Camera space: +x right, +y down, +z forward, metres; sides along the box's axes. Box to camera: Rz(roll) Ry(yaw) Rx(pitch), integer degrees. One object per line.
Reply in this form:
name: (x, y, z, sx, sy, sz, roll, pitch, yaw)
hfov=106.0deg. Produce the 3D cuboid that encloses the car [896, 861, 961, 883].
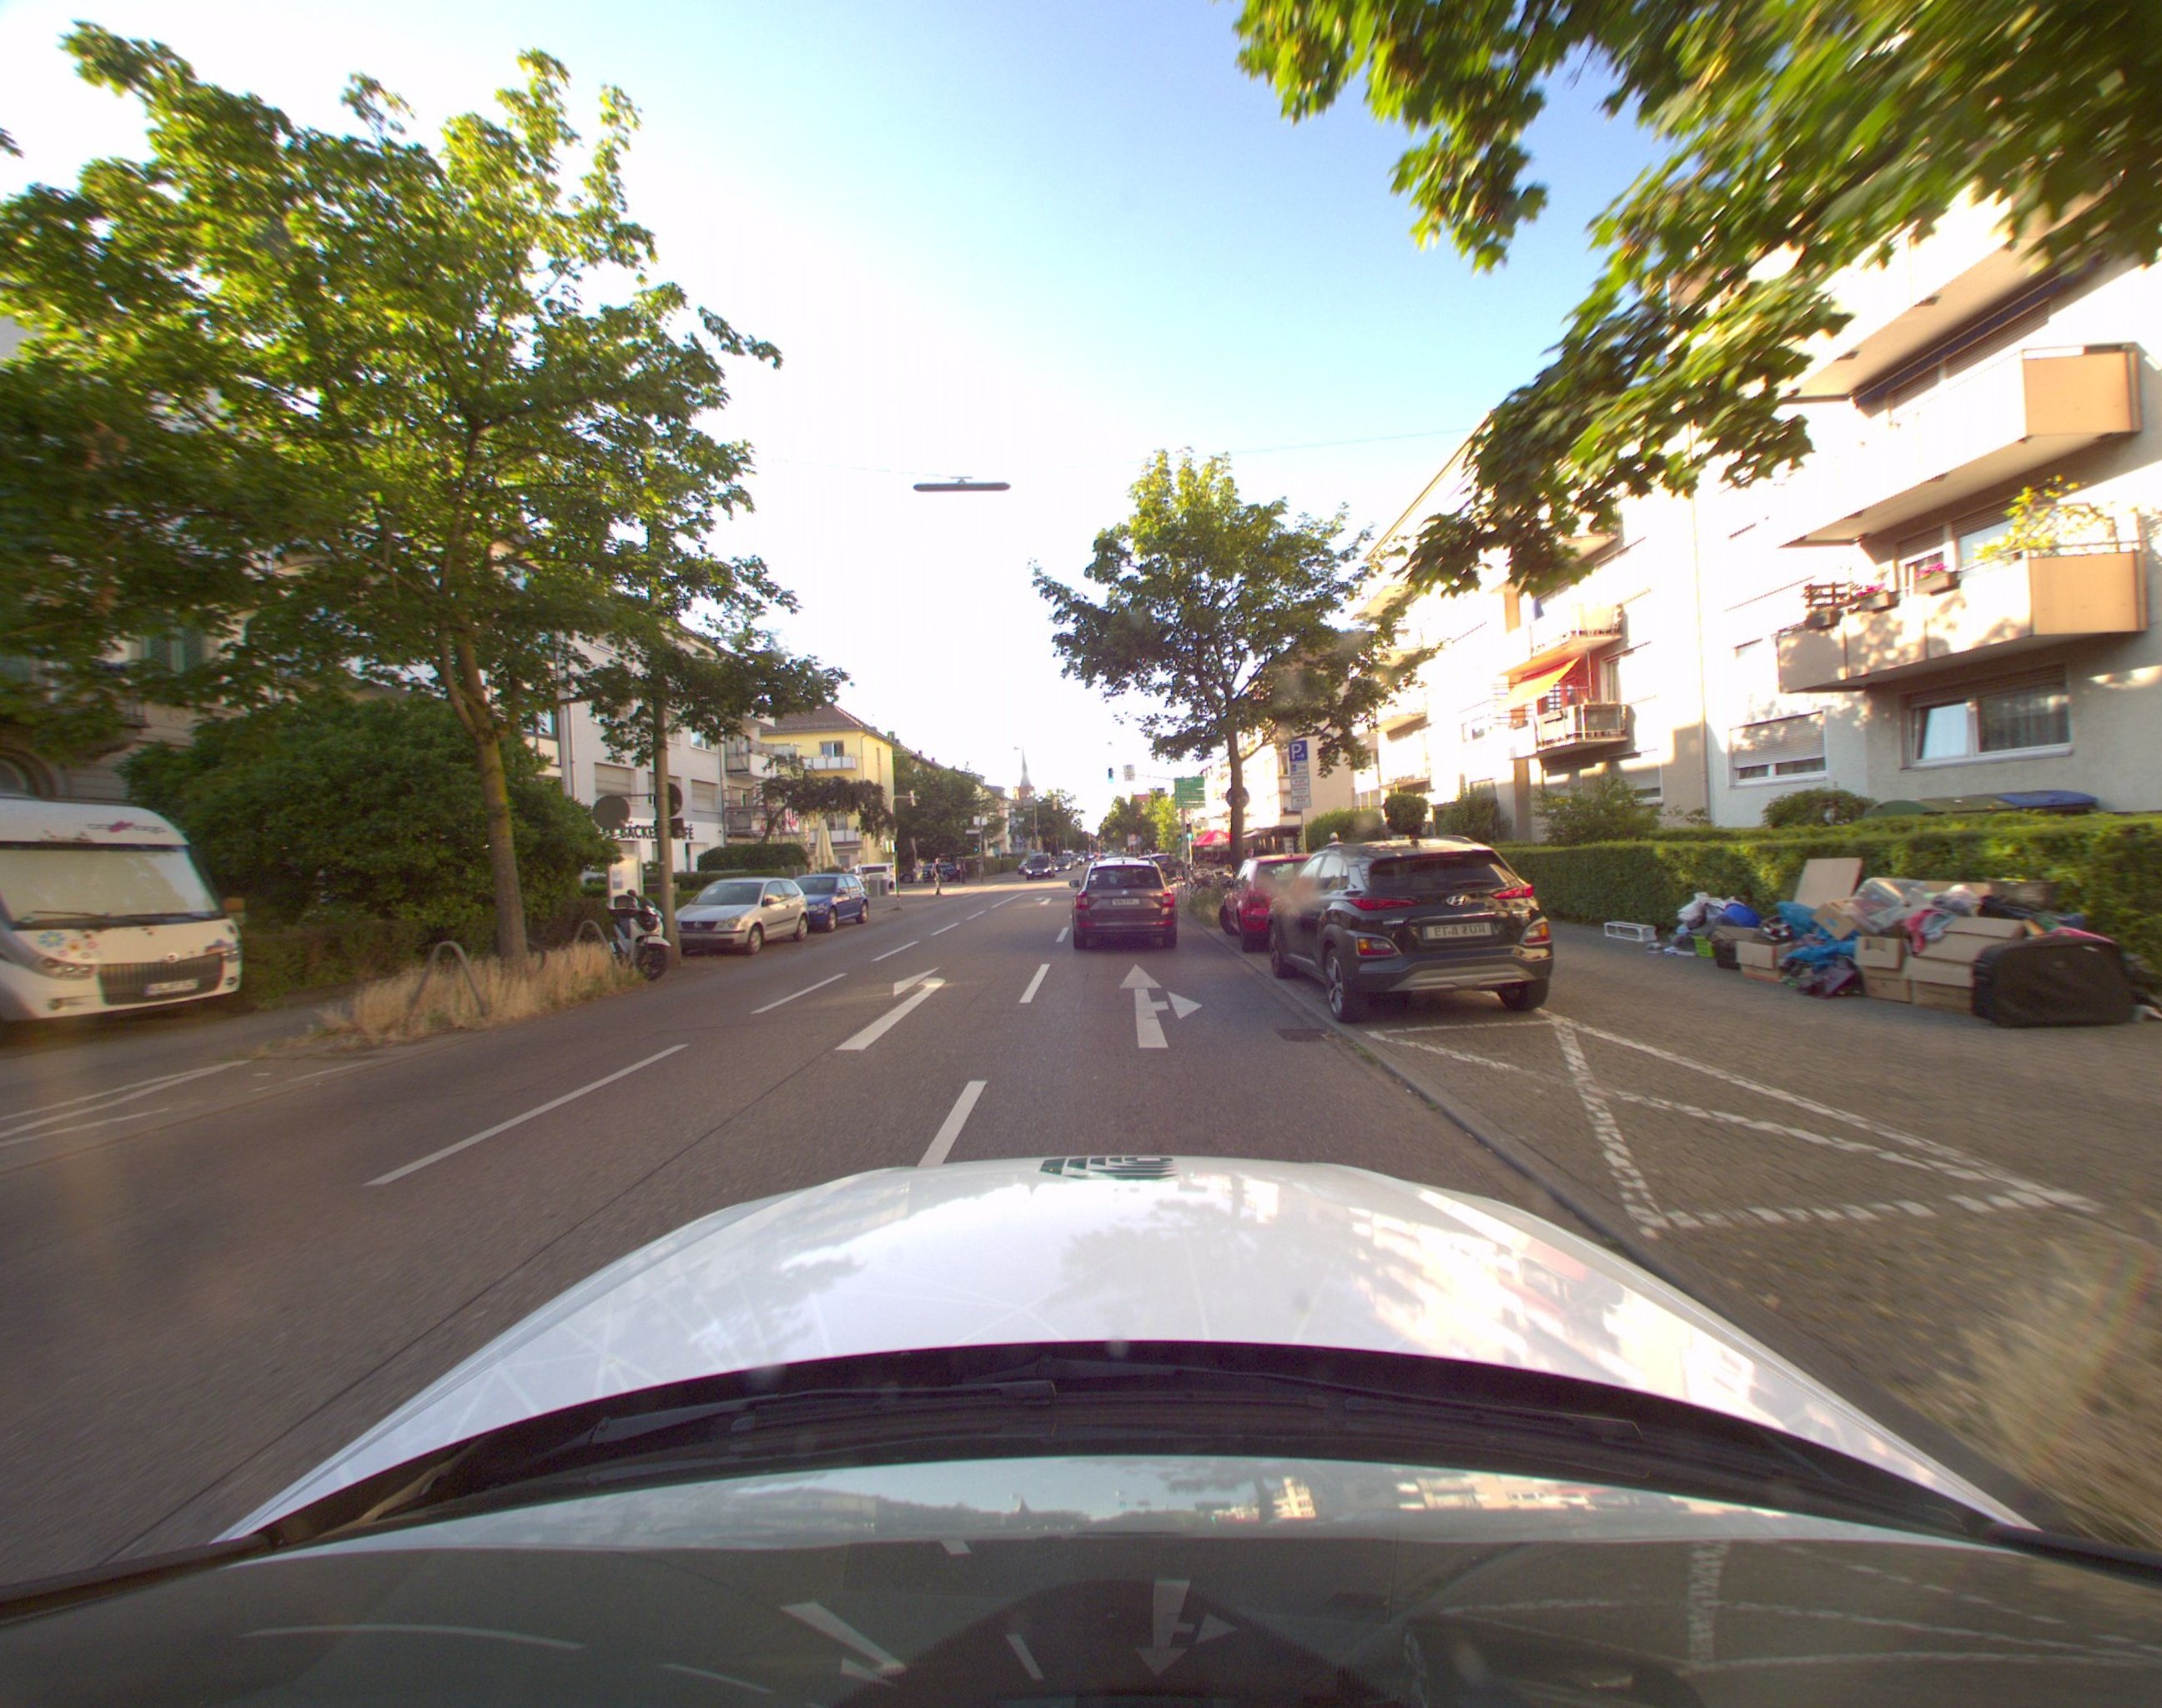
car: (-11.834, 1.378, 63.325, 4.617, 1.535, 1.862, -2, 0, 1)

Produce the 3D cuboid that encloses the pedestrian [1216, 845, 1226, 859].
pedestrian: (11.701, -0.169, 68.016, 0.726, 1.198, 0.856, -3, 0, 2)

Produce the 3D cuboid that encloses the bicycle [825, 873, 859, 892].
bicycle: (-14.915, 1.766, 50.958, 1.898, 1.071, 0.717, -3, -1, -8)

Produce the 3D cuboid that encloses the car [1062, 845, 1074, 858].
car: (-2.427, -0.465, 155.842, 1.986, 2.478, 4.001, -3, 0, 2)

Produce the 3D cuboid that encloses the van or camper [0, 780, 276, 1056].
van or camper: (-13.848, 0.675, 9.381, 6.774, 2.773, 2.352, -1, 0, 0)

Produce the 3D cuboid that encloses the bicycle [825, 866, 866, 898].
bicycle: (-13.439, 1.572, 46.538, 2.016, 1.706, 0.757, -3, 0, -1)

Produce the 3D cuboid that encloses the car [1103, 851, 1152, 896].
car: (1.735, 0.689, 30.746, 1.730, 1.571, 4.003, -1, 0, 2)

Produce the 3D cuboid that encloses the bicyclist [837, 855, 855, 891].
bicyclist: (-13.439, 1.073, 46.641, 0.723, 2.013, 0.843, -3, 0, -1)

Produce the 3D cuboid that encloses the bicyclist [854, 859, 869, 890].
bicyclist: (-13.500, 1.257, 50.097, 0.738, 1.823, 0.652, -3, 0, -7)

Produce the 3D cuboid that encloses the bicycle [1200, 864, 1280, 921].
bicycle: (3.341, 0.812, 17.122, 1.564, 1.104, 0.392, -3, 0, 2)

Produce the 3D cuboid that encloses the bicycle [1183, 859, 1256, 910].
bicycle: (3.456, 0.764, 20.397, 1.677, 1.107, 0.518, -5, -1, 7)

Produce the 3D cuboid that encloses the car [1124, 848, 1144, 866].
car: (5.491, 0.260, 83.494, 1.984, 1.772, 4.005, -1, 0, 4)

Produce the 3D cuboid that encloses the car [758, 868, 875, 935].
car: (-6.900, 1.189, 21.701, 1.642, 1.517, 4.075, -2, 0, 2)

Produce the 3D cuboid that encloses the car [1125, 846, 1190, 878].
car: (4.275, 0.431, 45.254, 1.782, 1.552, 4.026, -3, 0, 35)

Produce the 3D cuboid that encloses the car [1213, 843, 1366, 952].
car: (3.316, 0.619, 13.696, 1.696, 1.450, 4.018, -4, 0, 4)

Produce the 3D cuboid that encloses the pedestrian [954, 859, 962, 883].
pedestrian: (-9.164, 1.264, 60.670, 0.448, 1.797, 0.504, -3, 0, 2)

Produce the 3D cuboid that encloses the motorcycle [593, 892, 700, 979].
motorcycle: (-7.042, 1.281, 13.150, 2.028, 1.265, 0.772, -3, 0, 40)

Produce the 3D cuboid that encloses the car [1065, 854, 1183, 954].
car: (0.714, 0.777, 14.743, 1.767, 1.489, 4.312, -2, 0, 1)

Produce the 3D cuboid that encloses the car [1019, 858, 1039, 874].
car: (-5.051, 1.119, 79.237, 1.517, 1.457, 3.586, -3, 0, 2)

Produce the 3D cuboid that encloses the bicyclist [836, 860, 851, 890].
bicyclist: (-14.870, 1.282, 50.987, 0.738, 1.823, 0.652, -3, 0, -7)

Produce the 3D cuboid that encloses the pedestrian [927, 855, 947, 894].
pedestrian: (-7.510, 1.074, 42.474, 0.777, 1.987, 0.821, -3, 0, 2)

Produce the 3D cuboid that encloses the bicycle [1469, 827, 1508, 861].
bicycle: (14.510, -0.345, 29.041, 0.521, 1.183, 1.797, -3, 0, 3)

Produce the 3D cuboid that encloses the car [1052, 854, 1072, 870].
car: (-2.051, 0.867, 89.323, 1.823, 1.579, 4.002, -3, 0, 2)

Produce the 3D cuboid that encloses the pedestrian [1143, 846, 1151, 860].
pedestrian: (8.516, -0.148, 105.010, 0.668, 1.704, 0.806, -3, 0, 28)

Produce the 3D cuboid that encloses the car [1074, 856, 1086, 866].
car: (-0.182, 1.153, 137.478, 1.697, 1.550, 4.004, -3, 0, 2)

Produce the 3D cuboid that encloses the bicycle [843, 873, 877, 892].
bicycle: (-13.584, 1.743, 50.073, 1.898, 1.071, 0.717, -3, -1, -8)

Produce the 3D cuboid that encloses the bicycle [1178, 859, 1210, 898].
bicycle: (3.549, 0.761, 25.699, 0.501, 1.147, 1.956, -5, -1, -4)

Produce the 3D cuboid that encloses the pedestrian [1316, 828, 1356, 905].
pedestrian: (6.075, 0.293, 19.419, 0.659, 1.749, 0.774, -4, -1, 8)

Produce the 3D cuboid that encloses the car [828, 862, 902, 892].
car: (-15.158, 1.604, 57.388, 4.618, 1.811, 1.862, -3, 0, 1)

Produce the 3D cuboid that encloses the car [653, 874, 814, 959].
car: (-7.052, 1.209, 16.961, 1.587, 1.470, 3.805, -1, 0, 2)

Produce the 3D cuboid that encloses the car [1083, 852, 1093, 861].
car: (1.511, 0.533, 183.555, 1.986, 2.013, 4.002, -3, 0, 2)

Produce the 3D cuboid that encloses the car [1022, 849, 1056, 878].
car: (-3.014, 0.690, 59.819, 1.986, 1.908, 4.965, -5, 0, 1)

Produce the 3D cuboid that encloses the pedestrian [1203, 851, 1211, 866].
pedestrian: (10.670, 0.376, 68.880, 0.497, 1.302, 0.507, -3, 0, -1)

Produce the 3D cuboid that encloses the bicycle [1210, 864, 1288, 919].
bicycle: (3.631, 0.802, 17.668, 1.564, 1.104, 0.501, -3, 0, 2)

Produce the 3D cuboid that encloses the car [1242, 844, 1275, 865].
car: (13.632, 0.068, 62.855, 1.769, 1.486, 4.003, -3, 0, 2)

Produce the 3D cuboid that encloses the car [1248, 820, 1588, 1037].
car: (3.078, 0.594, 8.458, 1.849, 1.581, 4.014, -4, 0, 1)

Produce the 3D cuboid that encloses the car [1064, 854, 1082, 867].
car: (-1.023, 0.886, 107.519, 1.986, 1.610, 4.003, -3, 0, 2)

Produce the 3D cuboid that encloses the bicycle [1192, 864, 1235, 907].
bicycle: (3.530, 0.815, 21.634, 0.613, 1.051, 1.583, -3, 0, 28)

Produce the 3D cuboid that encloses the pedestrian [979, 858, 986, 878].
pedestrian: (-7.429, 1.037, 61.463, 0.299, 1.504, 0.641, -3, 0, 2)

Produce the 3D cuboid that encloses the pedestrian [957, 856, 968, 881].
pedestrian: (-8.740, 1.098, 60.264, 0.613, 1.797, 0.504, -3, 0, 2)

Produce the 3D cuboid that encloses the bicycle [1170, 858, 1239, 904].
bicycle: (3.542, 0.767, 23.357, 1.824, 1.157, 0.685, -5, -1, 7)
